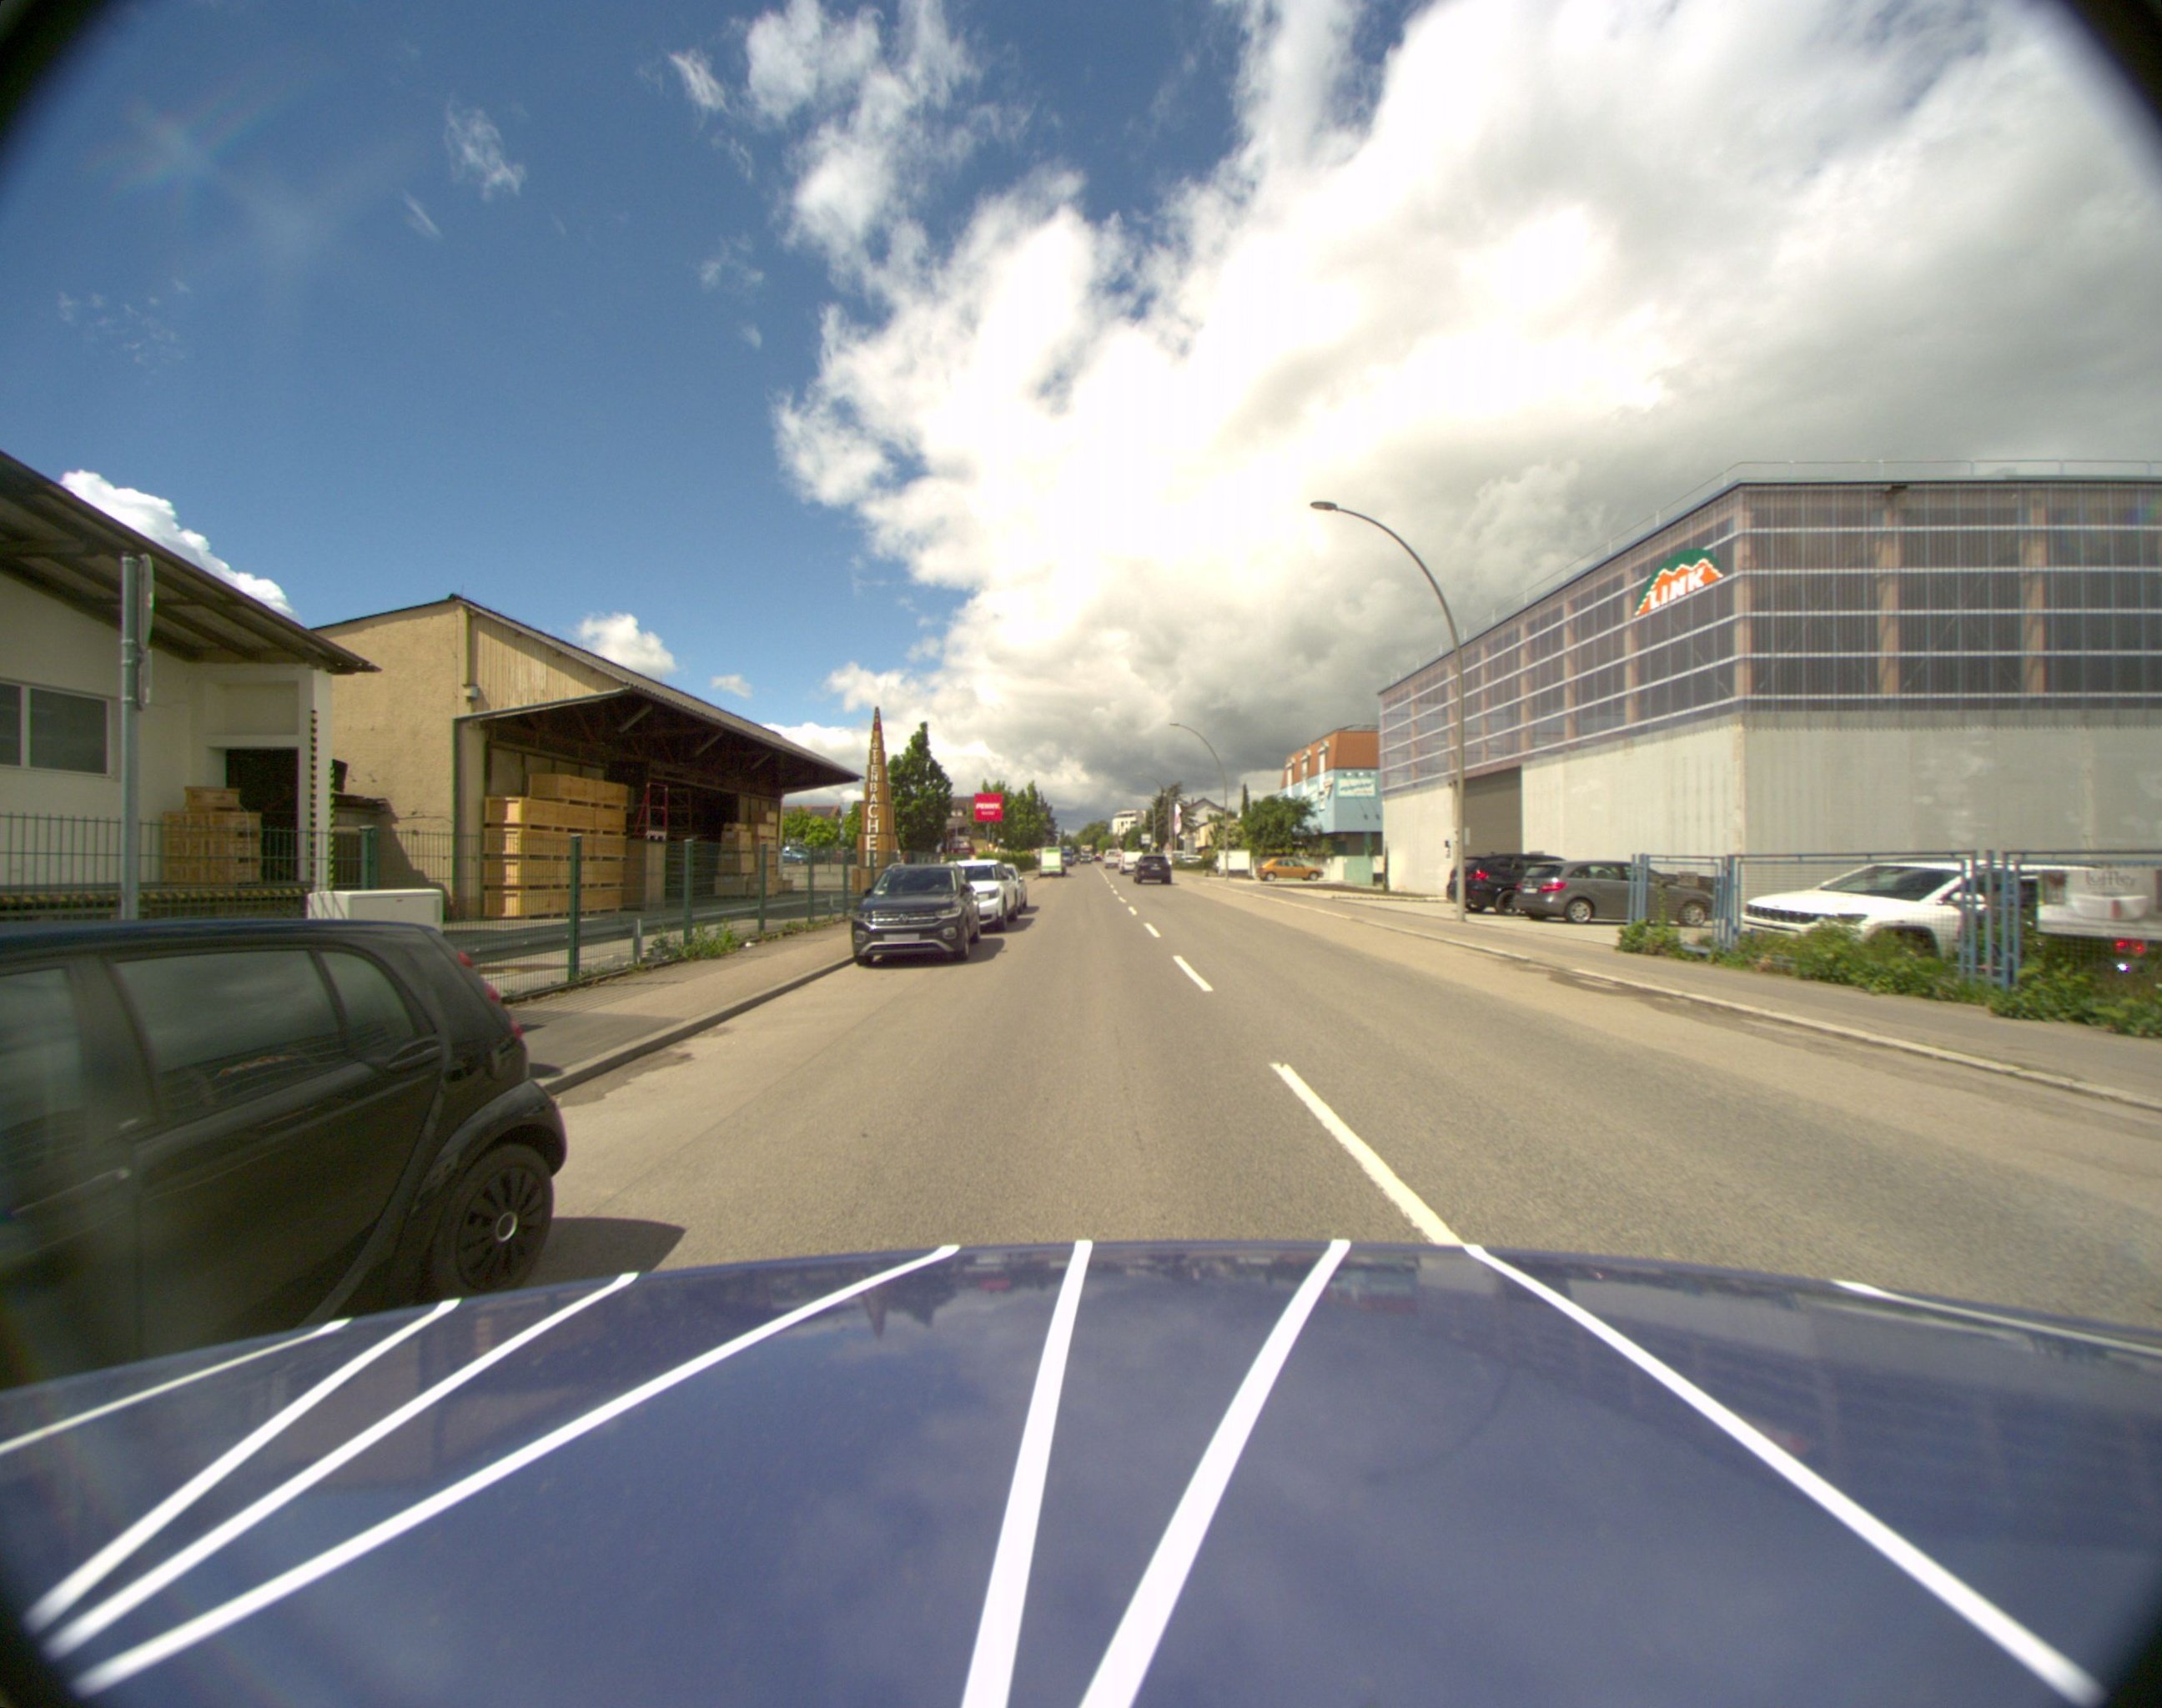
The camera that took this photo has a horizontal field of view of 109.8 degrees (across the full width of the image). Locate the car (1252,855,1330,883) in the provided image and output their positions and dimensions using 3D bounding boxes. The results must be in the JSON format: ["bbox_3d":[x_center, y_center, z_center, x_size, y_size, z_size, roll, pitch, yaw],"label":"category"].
[{"bbox_3d":[12.732,0.884,46.175,4.161,1.483,1.825,-3,0,-3],"label":"car"}]

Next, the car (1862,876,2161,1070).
[{"bbox_3d":[11.139,1.086,7.731,4.290,1.558,1.990,0,3,-1],"label":"car"}]

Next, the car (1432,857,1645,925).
[{"bbox_3d":[12.737,0.996,21.371,4.639,1.623,2.197,2,0,-3],"label":"car"}]

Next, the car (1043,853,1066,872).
[{"bbox_3d":[-2.288,0.718,65.690,1.947,1.562,4.445,0,0,-1],"label":"car"}]

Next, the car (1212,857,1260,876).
[{"bbox_3d":[12.834,1.044,62.996,3.636,1.524,1.980,-1,0,3],"label":"car"}]

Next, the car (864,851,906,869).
[{"bbox_3d":[-21.261,0.651,82.535,3.997,1.696,2.000,-3,0,-1],"label":"car"}]

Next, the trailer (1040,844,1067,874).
[{"bbox_3d":[-2.100,0.377,59.119,1.946,2.281,4.445,0,0,-1],"label":"trailer"}]

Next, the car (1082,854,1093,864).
[{"bbox_3d":[1.077,0.842,132.657,1.891,1.708,4.000,0,0,0],"label":"car"}]

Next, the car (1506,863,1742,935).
[{"bbox_3d":[13.103,1.057,18.523,4.473,1.496,1.825,2,0,-3],"label":"car"}]

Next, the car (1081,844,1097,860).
[{"bbox_3d":[1.828,-0.422,181.549,3.263,3.595,10.270,-2,-1,-1],"label":"car"}]

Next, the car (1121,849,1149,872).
[{"bbox_3d":[4.476,0.538,63.760,1.998,1.877,5.117,0,0,0],"label":"car"}]

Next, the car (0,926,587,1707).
[{"bbox_3d":[-2.906,1.018,1.190,1.693,1.442,3.848,0,0,1],"label":"car"}]

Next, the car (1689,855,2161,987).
[{"bbox_3d":[11.406,0.850,10.534,4.290,1.558,1.990,0,3,1],"label":"car"}]

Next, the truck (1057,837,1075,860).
[{"bbox_3d":[-2.206,-0.763,110.933,2.326,3.079,6.042,-2,0,1],"label":"truck"}]

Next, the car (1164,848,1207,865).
[{"bbox_3d":[12.365,0.288,90.150,4.664,1.960,2.115,0,0,-3],"label":"car"}]

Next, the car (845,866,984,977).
[{"bbox_3d":[-2.677,1.019,13.121,1.694,1.543,4.084,0,0,-3],"label":"car"}]

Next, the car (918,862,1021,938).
[{"bbox_3d":[-2.511,0.987,18.153,1.796,1.543,4.573,0,0,0],"label":"car"}]

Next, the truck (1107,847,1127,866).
[{"bbox_3d":[4.270,0.296,91.186,2.324,2.166,6.450,0,0,3],"label":"truck"}]

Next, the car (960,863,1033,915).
[{"bbox_3d":[-2.551,1.024,23.820,1.796,1.441,4.363,0,0,0],"label":"car"}]

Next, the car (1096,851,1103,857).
[{"bbox_3d":[5.056,0.031,208.153,1.999,1.606,4.411,1,0,0],"label":"car"}]

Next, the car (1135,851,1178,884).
[{"bbox_3d":[4.220,0.742,42.978,1.998,1.723,4.548,0,0,0],"label":"car"}]
